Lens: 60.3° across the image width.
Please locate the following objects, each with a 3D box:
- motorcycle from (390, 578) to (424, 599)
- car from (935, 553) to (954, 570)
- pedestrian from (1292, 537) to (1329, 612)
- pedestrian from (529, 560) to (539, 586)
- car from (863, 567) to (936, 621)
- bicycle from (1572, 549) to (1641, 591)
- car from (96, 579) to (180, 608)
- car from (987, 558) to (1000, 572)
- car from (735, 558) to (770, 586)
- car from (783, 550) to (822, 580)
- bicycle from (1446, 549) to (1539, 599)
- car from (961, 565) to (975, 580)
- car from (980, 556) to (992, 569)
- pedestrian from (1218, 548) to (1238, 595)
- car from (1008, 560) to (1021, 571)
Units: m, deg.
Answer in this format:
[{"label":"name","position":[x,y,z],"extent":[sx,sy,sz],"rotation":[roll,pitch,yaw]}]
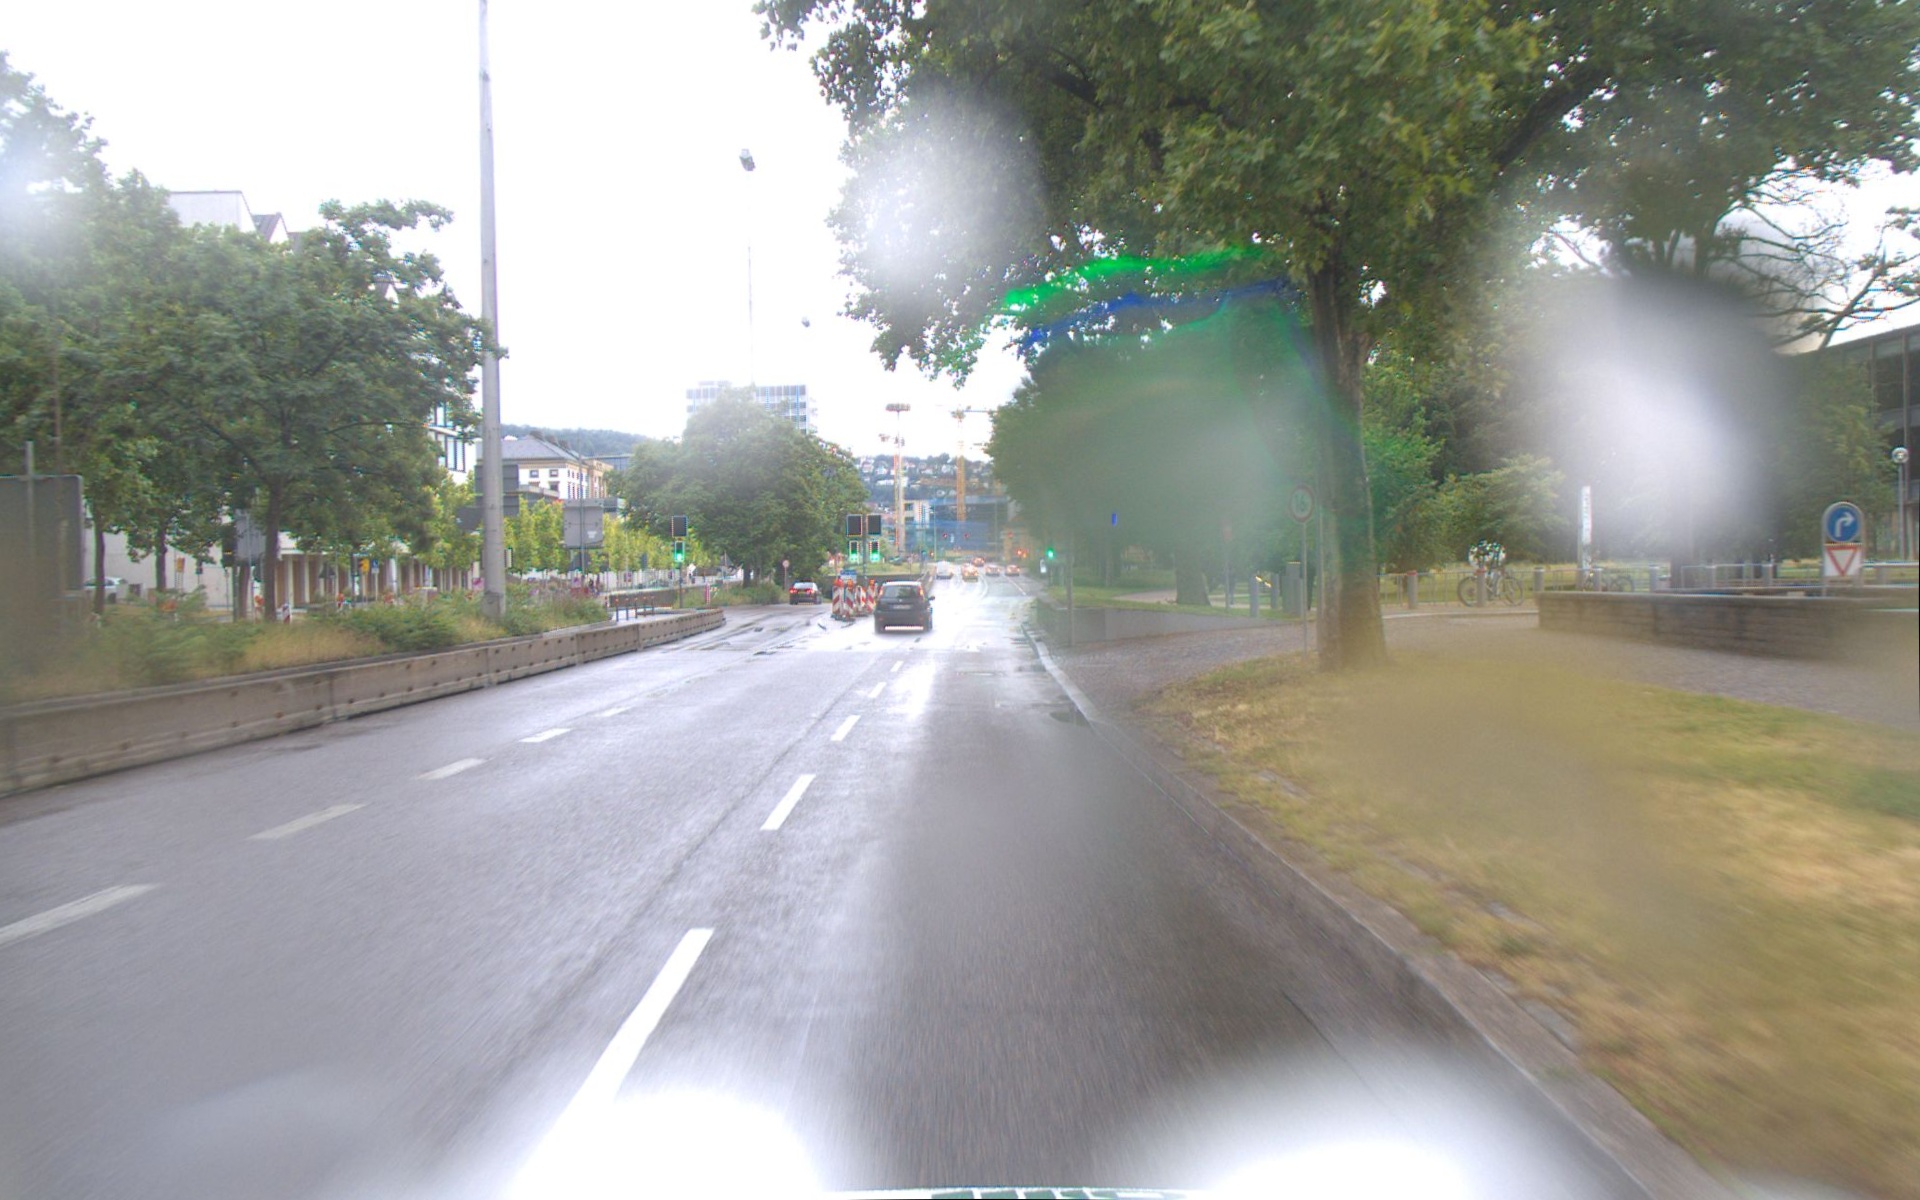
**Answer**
[{"label":"motorcycle","position":[-32.949,-0.662,98.569],"extent":[1.813,1.174,0.423],"rotation":[-3,1,-28]},{"label":"car","position":[-2.126,-5.313,229.079],"extent":[2.173,2.048,4.005],"rotation":[1,4,5]},{"label":"pedestrian","position":[8.476,-0.618,39.985],"extent":[0.691,1.748,0.692],"rotation":[-3,1,0]},{"label":"pedestrian","position":[-34.001,-2.163,131.980],"extent":[0.535,2.048,0.524],"rotation":[-3,1,-35]},{"label":"car","position":[-1.822,-0.185,49.004],"extent":[1.809,1.441,3.834],"rotation":[-3,0,-7]},{"label":"bicycle","position":[17.658,-0.826,45.186],"extent":[1.609,1.104,0.709],"rotation":[-2,2,-6]},{"label":"car","position":[-48.153,-0.391,96.951],"extent":[3.907,1.623,1.999],"rotation":[-1,1,-3]},{"label":"car","position":[4.940,-5.181,245.399],"extent":[1.946,2.048,4.001],"rotation":[-1,1,1]},{"label":"car","position":[-12.744,-1.725,101.751],"extent":[1.954,1.660,3.996],"rotation":[-1,1,-5]},{"label":"car","position":[-9.934,-2.226,104.437],"extent":[1.952,1.811,4.001],"rotation":[-2,2,1]},{"label":"bicycle","position":[13.374,-0.665,41.555],"extent":[1.998,1.194,0.957],"rotation":[-2,2,-11]},{"label":"car","position":[1.030,-3.578,215.137],"extent":[1.703,1.802,4.001],"rotation":[-3,0,1]},{"label":"car","position":[3.930,-5.691,250.995],"extent":[1.677,1.719,3.850],"rotation":[-3,0,3]},{"label":"pedestrian","position":[10.581,-1.123,65.216],"extent":[0.582,1.786,0.725],"rotation":[-3,2,-2]},{"label":"car","position":[8.175,-5.157,247.840],"extent":[1.952,1.627,4.002],"rotation":[-3,0,3]}]
